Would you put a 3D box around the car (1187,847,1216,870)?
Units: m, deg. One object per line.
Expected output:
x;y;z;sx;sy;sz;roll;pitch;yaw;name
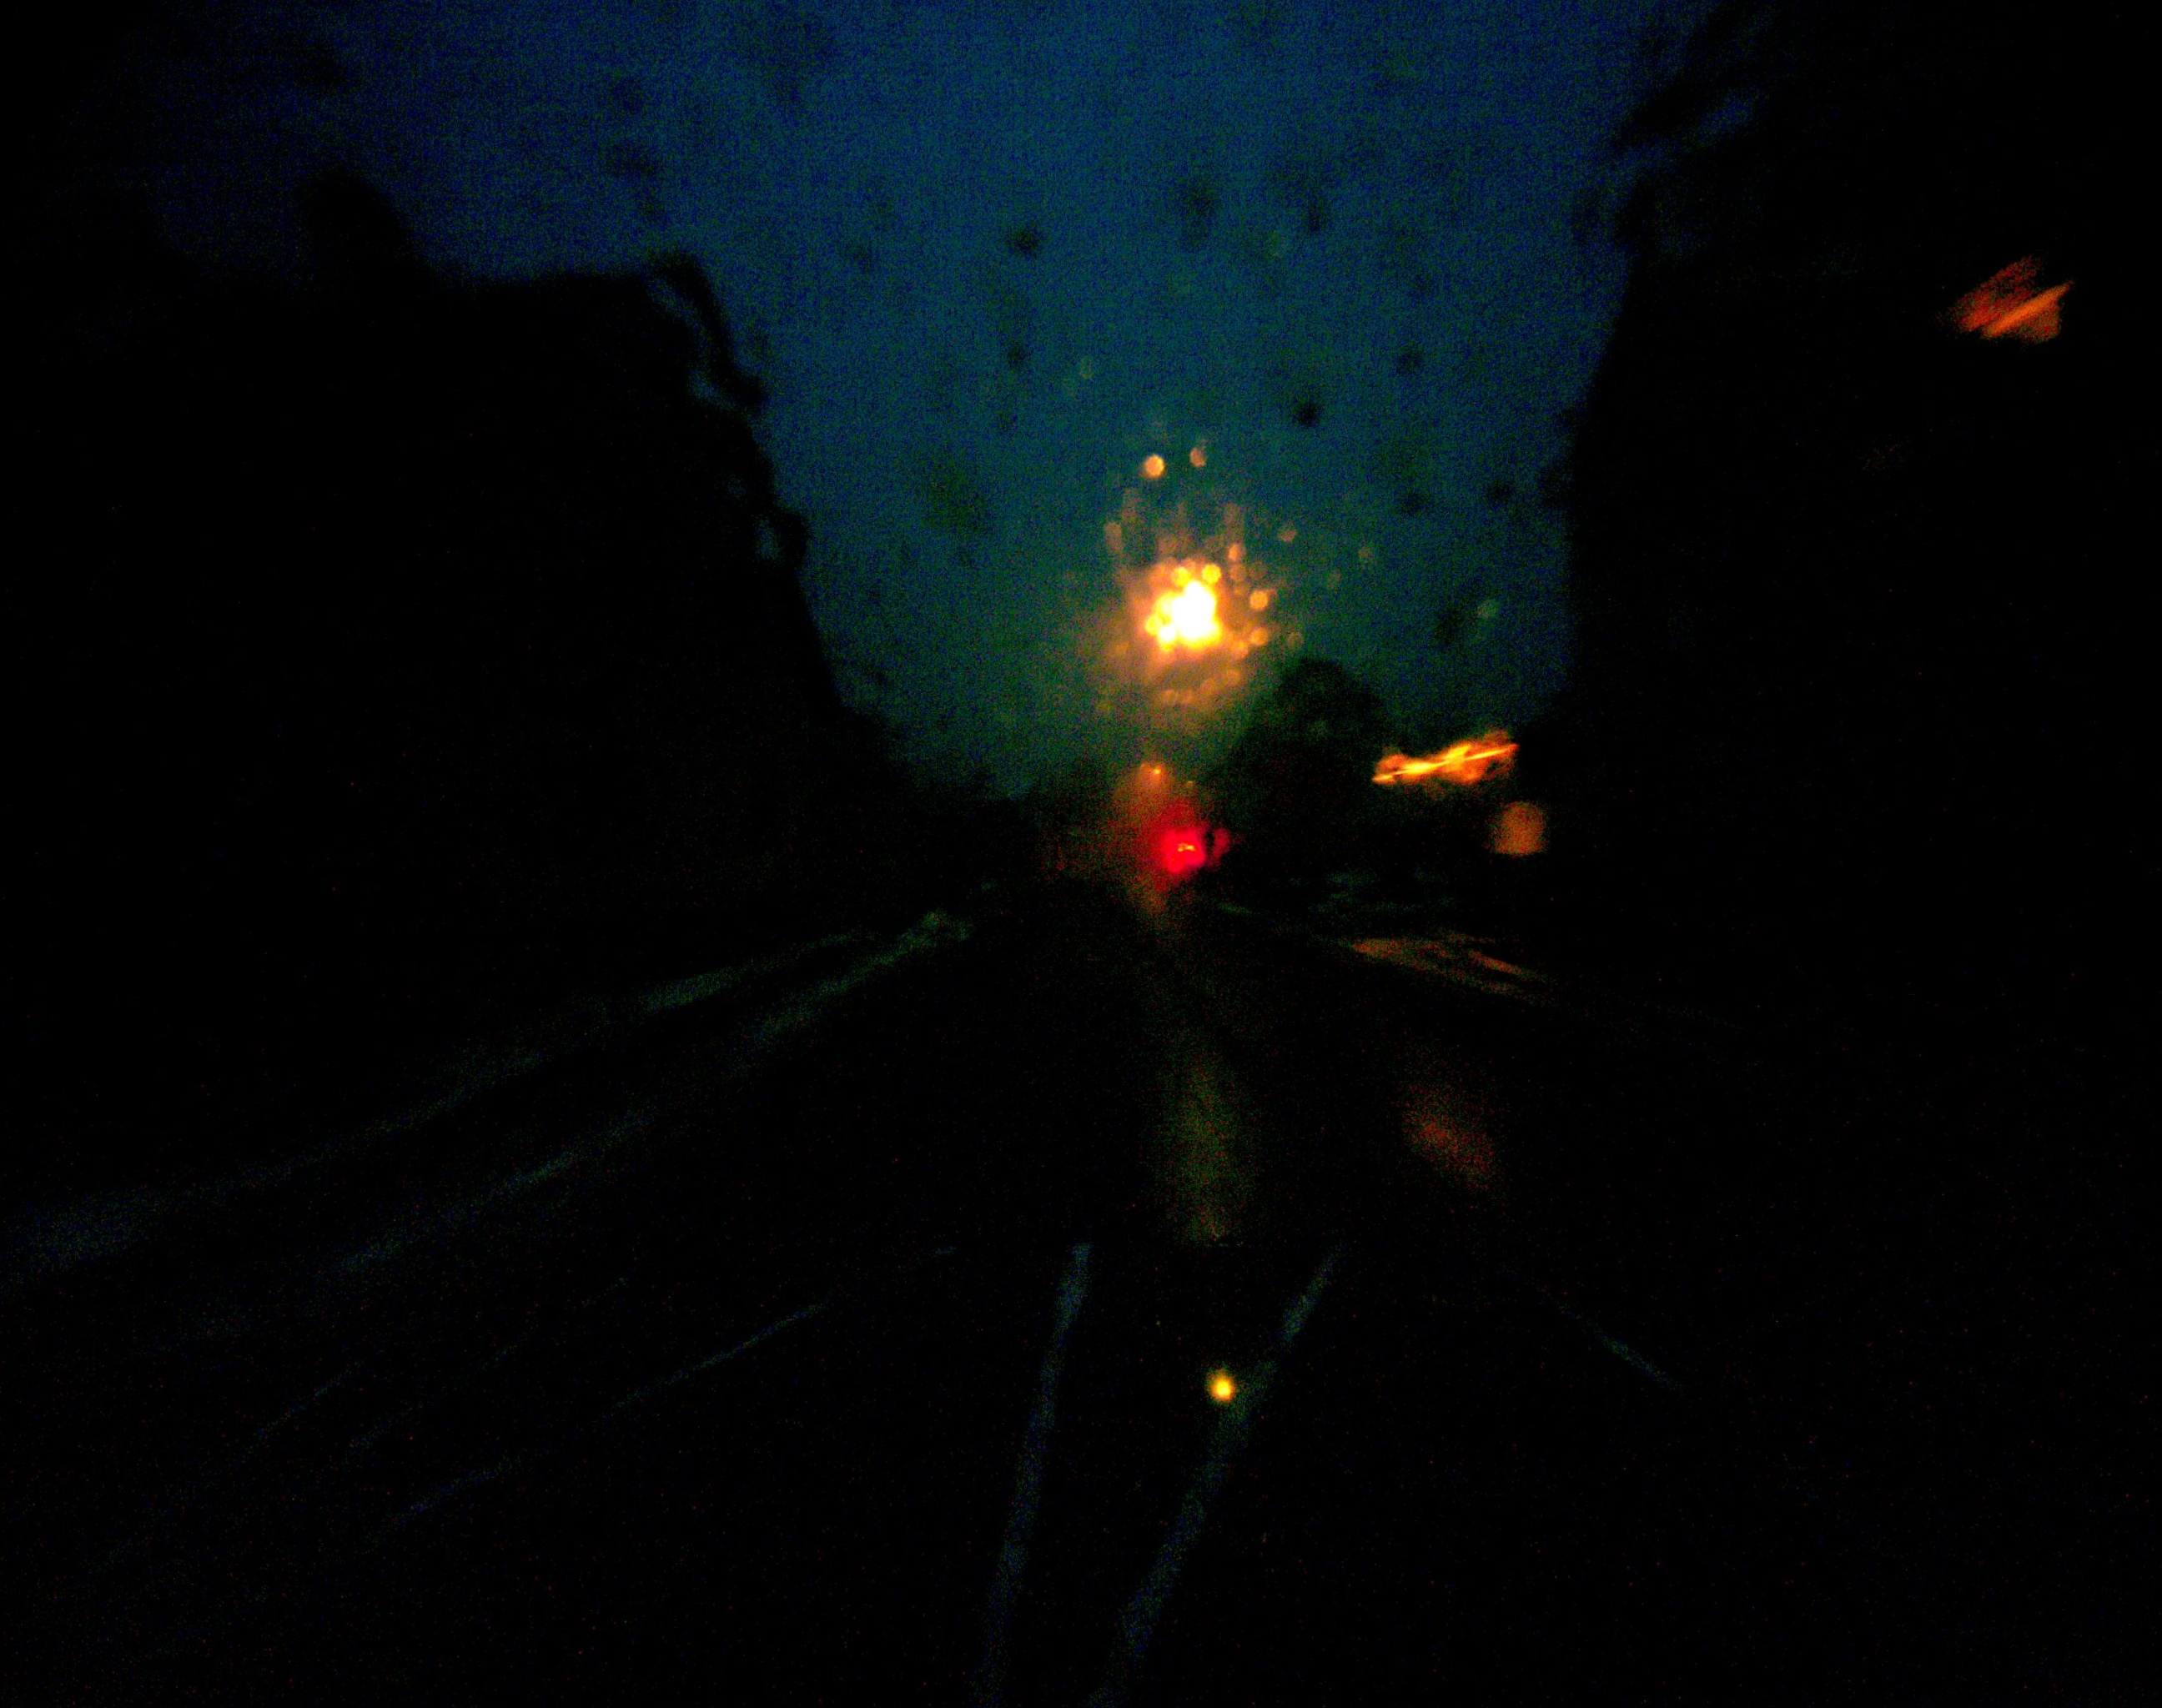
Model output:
9.104;0.314;57.449;1.997;1.513;4.193;-4;0;9;car

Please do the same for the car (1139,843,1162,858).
8.206;-0.438;89.476;1.913;1.473;4.285;-2;2;15;car
